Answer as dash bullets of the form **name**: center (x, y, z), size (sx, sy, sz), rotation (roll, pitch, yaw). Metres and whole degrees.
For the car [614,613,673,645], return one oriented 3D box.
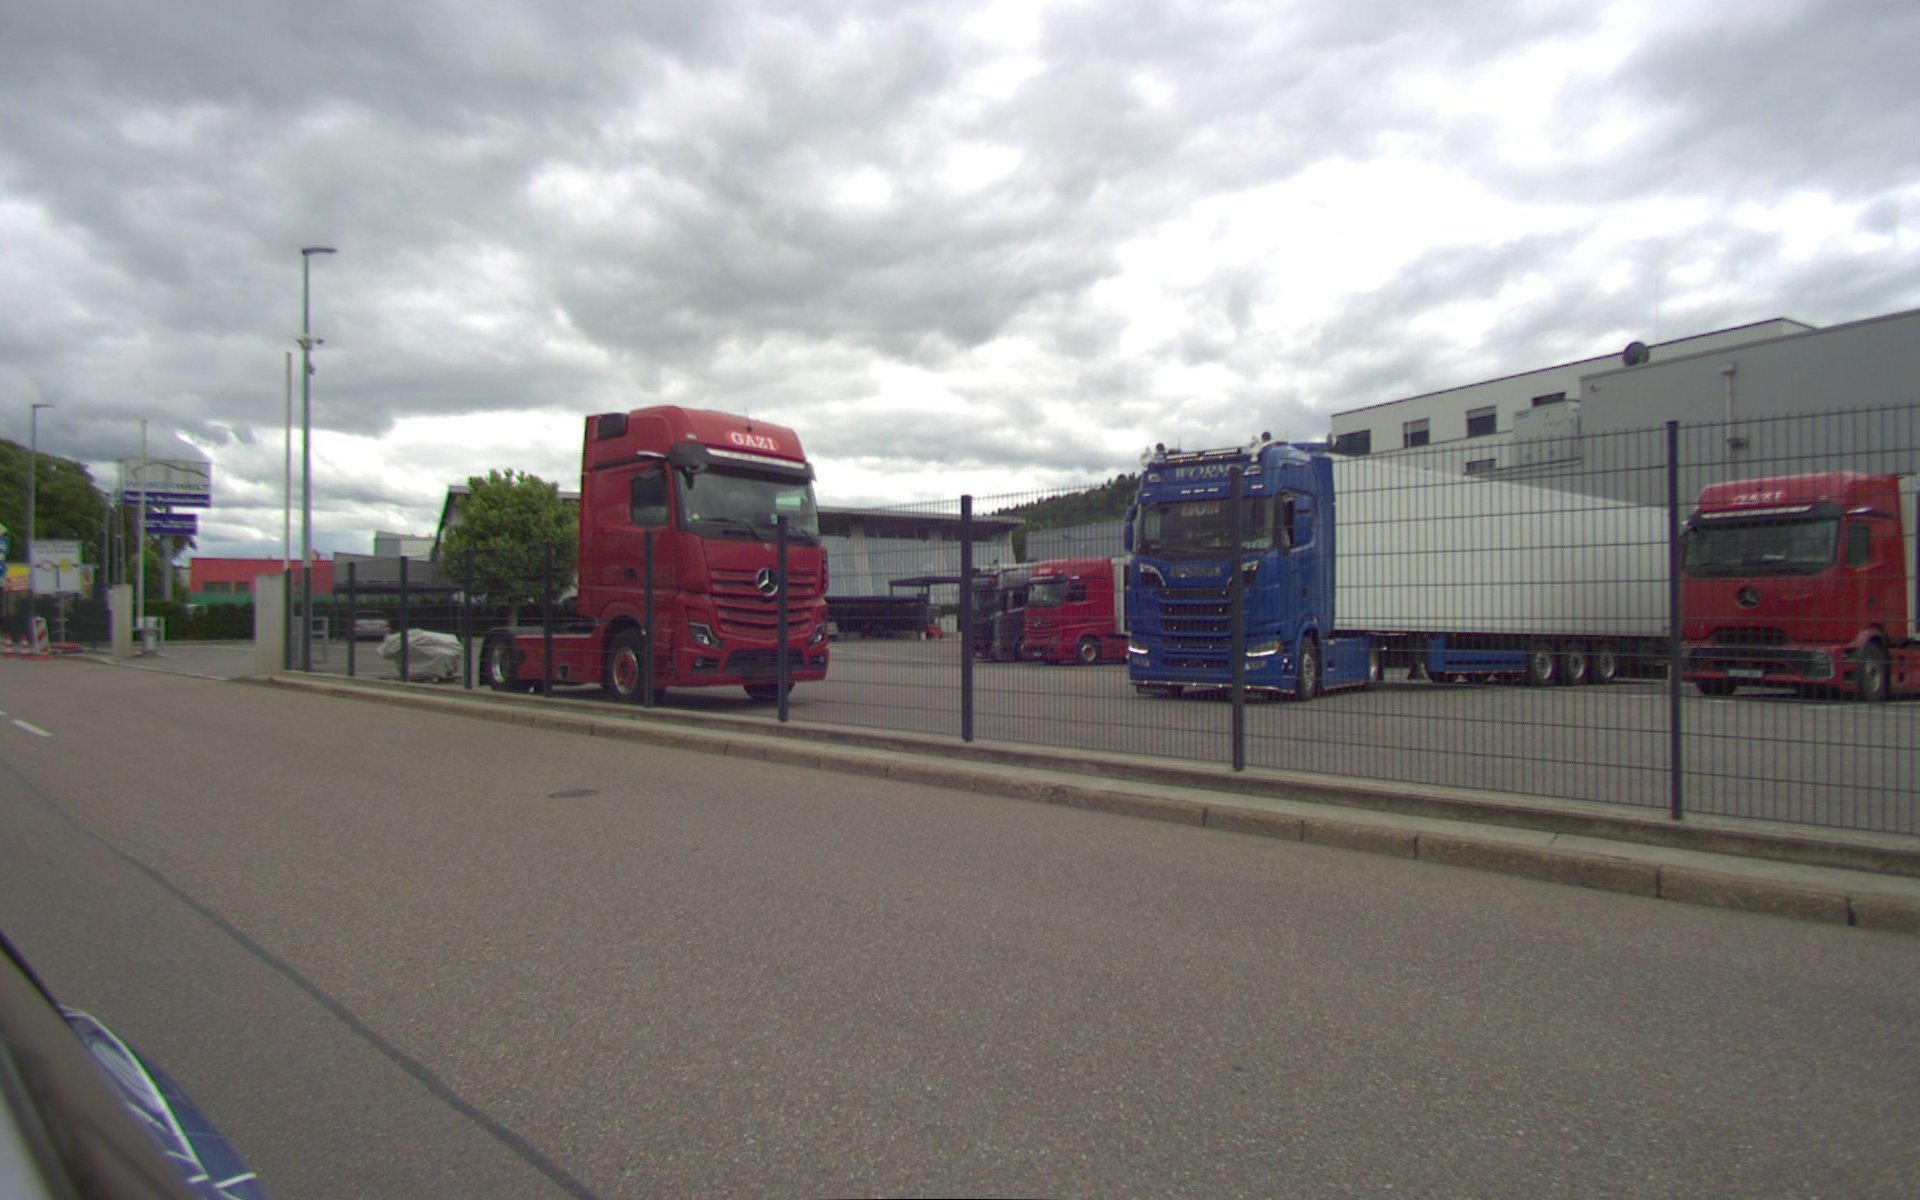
- **car**: center (-17.332, 1.558, 55.309), size (1.935, 1.660, 4.258), rotation (1, -1, -35)

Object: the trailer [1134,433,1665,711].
- **trailer**: center (9.612, -0.360, 20.543), size (13.785, 4.215, 3.044), rotation (1, -1, -35)

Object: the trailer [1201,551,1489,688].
- **trailer**: center (13.181, 0.656, 34.105), size (10.807, 4.109, 2.801), rotation (1, -1, -29)

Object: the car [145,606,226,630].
- **car**: center (-50.695, 1.190, 66.266), size (2.001, 1.547, 3.942), rotation (-1, -1, 44)

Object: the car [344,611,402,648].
- **car**: center (-27.853, 1.367, 47.999), size (2.039, 1.682, 4.258), rotation (1, -1, -35)

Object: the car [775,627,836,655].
- **car**: center (-9.265, 2.444, 60.457), size (1.935, 1.571, 4.258), rotation (1, -1, -35)

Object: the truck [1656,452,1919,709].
- **truck**: center (15.711, -0.249, 18.192), size (5.823, 3.958, 2.811), rotation (1, -2, -28)

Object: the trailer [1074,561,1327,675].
- **trailer**: center (9.782, 0.707, 40.404), size (10.807, 4.109, 2.801), rotation (1, -1, -29)

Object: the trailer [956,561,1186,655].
- **trailer**: center (5.466, 0.441, 48.358), size (11.213, 4.109, 3.101), rotation (1, -1, -29)

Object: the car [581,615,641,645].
- **car**: center (-18.432, 1.569, 53.324), size (1.935, 1.503, 4.258), rotation (1, -1, -35)

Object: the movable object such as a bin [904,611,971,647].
- **movable object such as a bin**: center (-1.481, 1.835, 64.542), size (2.046, 2.243, 4.612), rotation (1, -1, -35)

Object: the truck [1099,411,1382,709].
- **truck**: center (4.882, -0.499, 16.876), size (2.924, 4.051, 5.550), rotation (-1, -1, 34)

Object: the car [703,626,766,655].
- **car**: center (-12.633, 2.233, 56.527), size (1.935, 1.571, 4.258), rotation (1, -1, -35)

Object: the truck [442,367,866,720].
- **truck**: center (-4.808, -0.593, 15.044), size (6.940, 4.051, 2.890), rotation (-1, -1, 42)

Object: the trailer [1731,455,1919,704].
- **trailer**: center (21.060, -0.268, 20.995), size (12.866, 4.139, 2.793), rotation (0, -2, -28)

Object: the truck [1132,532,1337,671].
- **truck**: center (8.543, 0.096, 31.485), size (5.823, 3.958, 2.811), rotation (1, -1, -29)

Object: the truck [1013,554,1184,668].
- **truck**: center (5.189, 0.427, 37.864), size (5.823, 3.958, 2.811), rotation (1, -1, -29)

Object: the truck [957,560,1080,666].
- **truck**: center (2.340, 0.539, 40.822), size (4.093, 4.071, 2.811), rotation (1, -1, -29)
